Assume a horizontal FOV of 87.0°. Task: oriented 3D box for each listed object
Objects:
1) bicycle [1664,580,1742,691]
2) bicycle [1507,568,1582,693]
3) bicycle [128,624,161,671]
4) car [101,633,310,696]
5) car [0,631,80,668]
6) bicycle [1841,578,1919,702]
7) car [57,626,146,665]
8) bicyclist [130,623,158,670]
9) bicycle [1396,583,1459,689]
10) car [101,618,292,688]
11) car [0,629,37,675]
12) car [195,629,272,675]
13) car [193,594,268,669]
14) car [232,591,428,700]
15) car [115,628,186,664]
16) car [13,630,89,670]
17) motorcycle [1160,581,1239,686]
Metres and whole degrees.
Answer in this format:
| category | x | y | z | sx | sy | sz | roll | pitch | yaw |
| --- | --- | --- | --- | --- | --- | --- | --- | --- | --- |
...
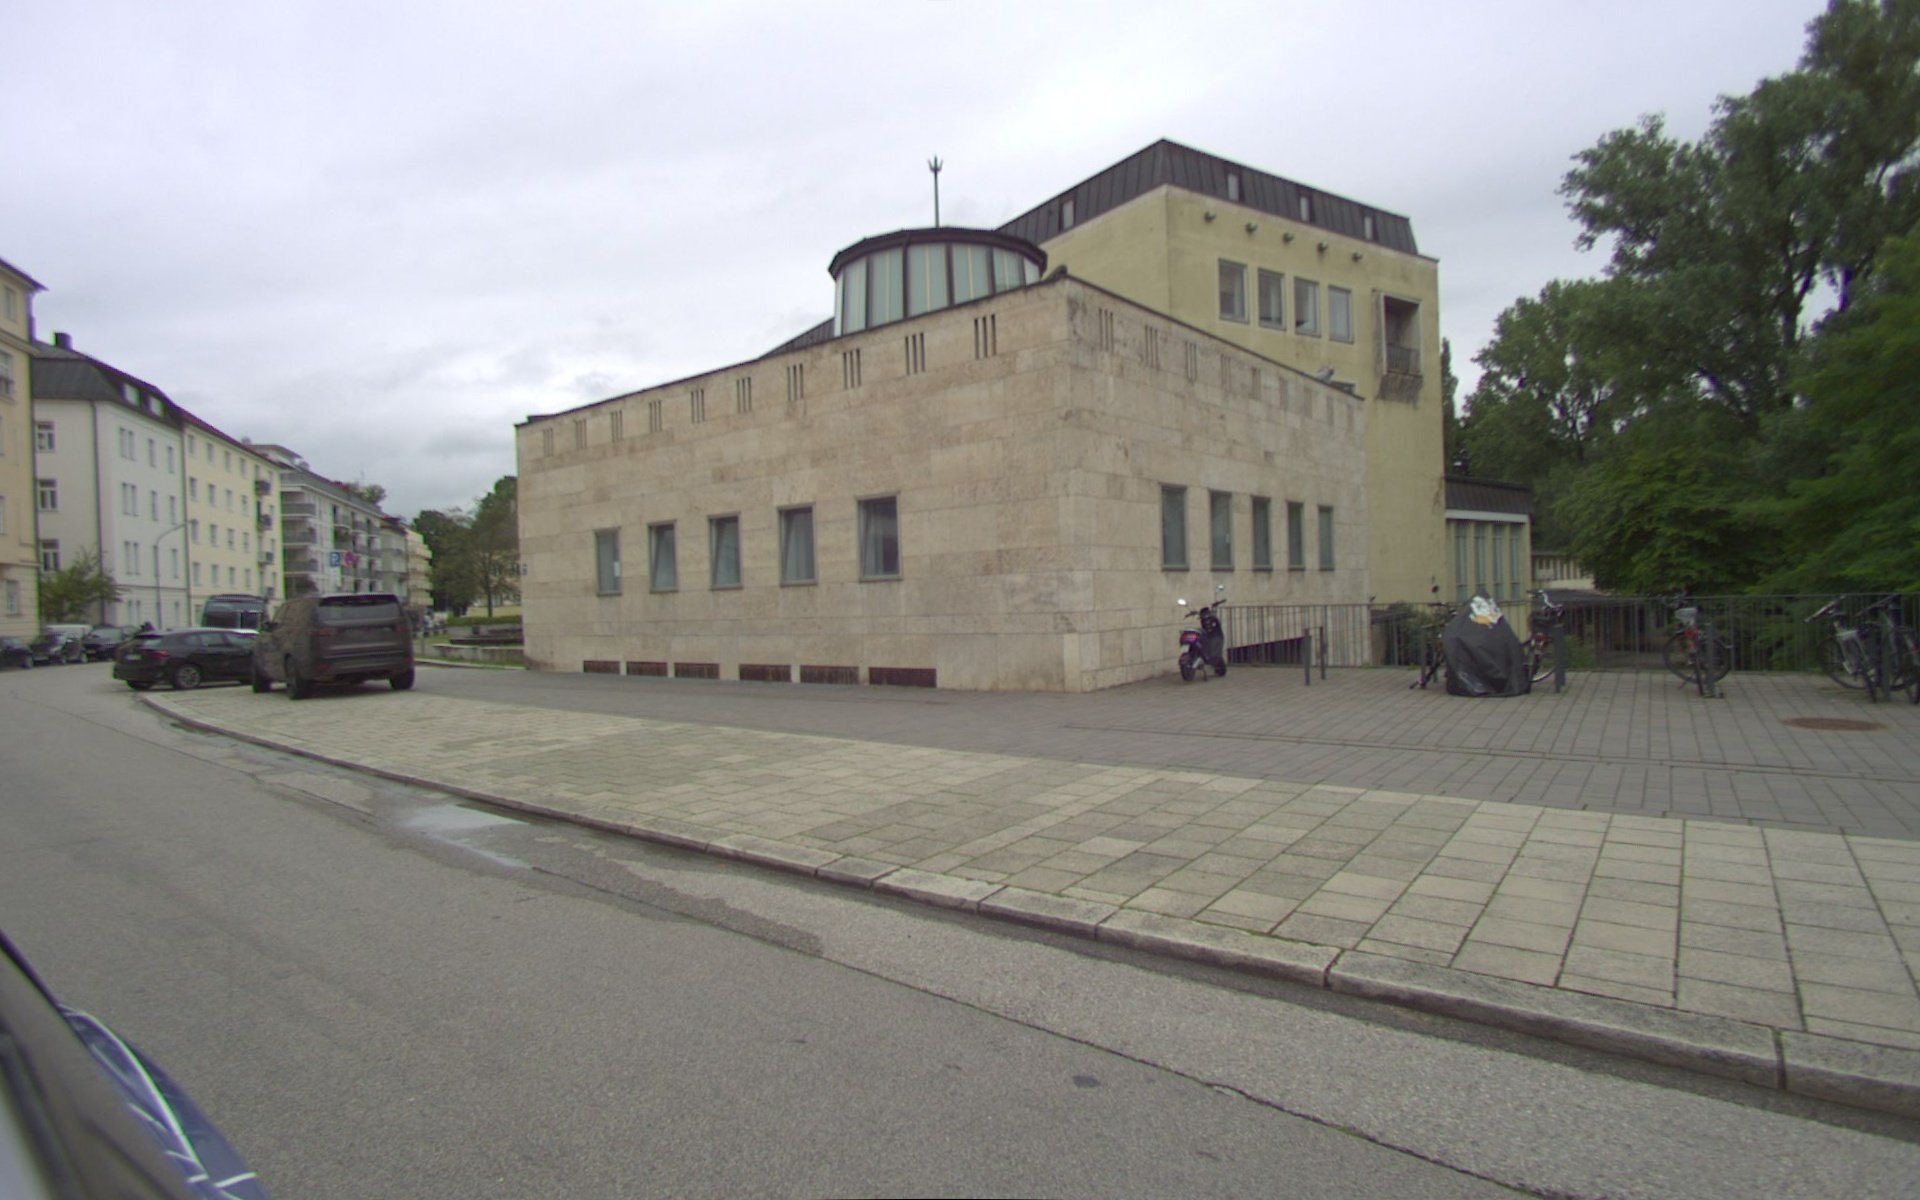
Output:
| category | x | y | z | sx | sy | sz | roll | pitch | yaw |
| --- | --- | --- | --- | --- | --- | --- | --- | --- | --- |
| bicycle | 8.764 | 0.383 | 11.985 | 0.615 | 1.119 | 2.029 | -3 | 1 | 34 |
| bicycle | 7.270 | 0.334 | 12.534 | 0.612 | 1.362 | 2.081 | -3 | 1 | 34 |
| bicycle | -31.237 | 1.820 | 38.753 | 0.785 | 1.735 | 3.118 | 1 | -3 | -42 |
| car | -18.765 | 1.544 | 25.402 | 1.734 | 1.384 | 3.985 | 0 | -1 | 16 |
| car | -49.854 | 2.647 | 53.390 | 4.839 | 1.785 | 1.892 | -2 | 0 | -25 |
| bicycle | 9.877 | 0.387 | 10.752 | 0.616 | 1.119 | 2.026 | -3 | 1 | 38 |
| car | -43.349 | 2.292 | 51.235 | 1.901 | 1.743 | 4.702 | -4 | 0 | -21 |
| bicyclist | -31.403 | 1.780 | 38.933 | 0.739 | 1.730 | 1.033 | -1 | -2 | -42 |
| bicycle | 6.144 | 0.446 | 13.270 | 0.461 | 1.269 | 1.438 | -3 | 1 | 34 |
| car | -21.219 | 1.435 | 28.331 | 1.662 | 1.541 | 3.958 | -4 | 1 | 19 |
| car | -38.870 | 2.132 | 40.293 | 1.811 | 1.742 | 3.742 | -4 | 1 | -21 |
| car | -23.901 | 1.681 | 33.232 | 1.804 | 1.398 | 4.149 | 2 | -3 | -39 |
| car | -27.688 | 1.183 | 38.577 | 2.115 | 2.593 | 6.227 | -1 | -1 | -34 |
| car | -12.111 | 0.851 | 19.316 | 4.815 | 1.785 | 1.972 | -3 | 0 | 43 |
| car | -45.386 | 2.542 | 56.815 | 1.753 | 1.742 | 4.404 | -4 | 1 | -21 |
| car | -41.233 | 2.243 | 45.987 | 1.487 | 1.568 | 2.872 | -4 | 1 | -19 |
| motorcycle | 3.596 | 0.475 | 15.116 | 0.514 | 1.415 | 1.550 | -3 | 1 | 36 |
